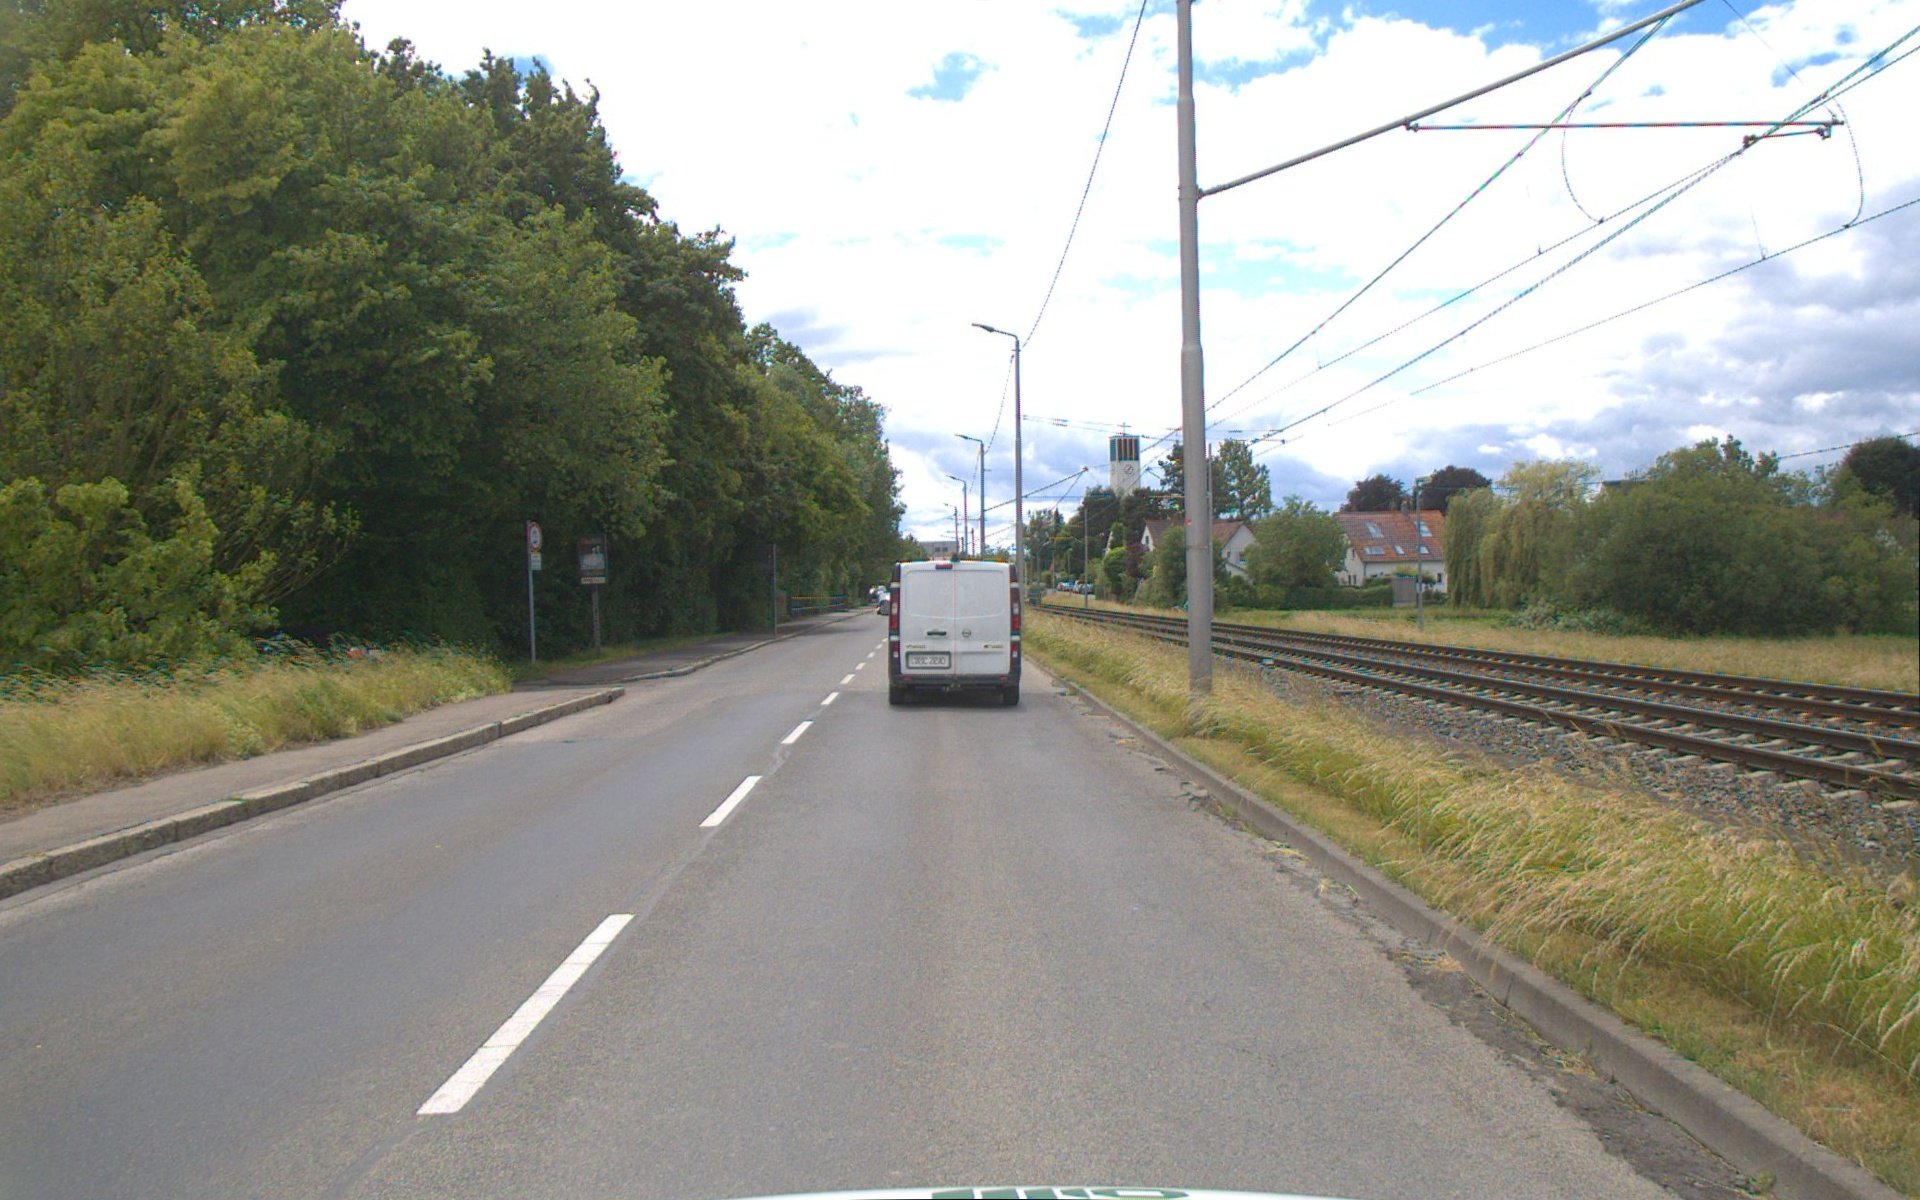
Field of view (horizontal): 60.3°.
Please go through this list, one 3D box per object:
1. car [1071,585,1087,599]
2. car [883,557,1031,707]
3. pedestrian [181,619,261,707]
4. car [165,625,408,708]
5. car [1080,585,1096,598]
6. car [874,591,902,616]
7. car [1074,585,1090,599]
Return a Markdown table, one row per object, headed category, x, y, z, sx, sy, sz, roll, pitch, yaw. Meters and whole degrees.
| category | x | y | z | sx | sy | sz | roll | pitch | yaw |
| --- | --- | --- | --- | --- | --- | --- | --- | --- | --- |
| car | 17.855 | -1.214 | 248.395 | 1.953 | 2.049 | 3.998 | 1 | -1 | -2 |
| car | -0.113 | 0.413 | 23.963 | 1.953 | 1.991 | 3.998 | 0 | 0 | -2 |
| pedestrian | -13.622 | 1.144 | 30.499 | 1.014 | 1.557 | 0.941 | -2 | 0 | -1 |
| car | -12.927 | 1.266 | 31.890 | 3.905 | 1.321 | 1.745 | -3 | 0 | 0 |
| car | 18.400 | -1.191 | 238.024 | 1.953 | 1.747 | 3.998 | 1 | -1 | -2 |
| car | -5.179 | 0.247 | 119.220 | 1.954 | 1.747 | 4.121 | -1 | 0 | -3 |
| car | 17.950 | -1.148 | 244.051 | 1.953 | 1.848 | 3.998 | 1 | -1 | -2 |
